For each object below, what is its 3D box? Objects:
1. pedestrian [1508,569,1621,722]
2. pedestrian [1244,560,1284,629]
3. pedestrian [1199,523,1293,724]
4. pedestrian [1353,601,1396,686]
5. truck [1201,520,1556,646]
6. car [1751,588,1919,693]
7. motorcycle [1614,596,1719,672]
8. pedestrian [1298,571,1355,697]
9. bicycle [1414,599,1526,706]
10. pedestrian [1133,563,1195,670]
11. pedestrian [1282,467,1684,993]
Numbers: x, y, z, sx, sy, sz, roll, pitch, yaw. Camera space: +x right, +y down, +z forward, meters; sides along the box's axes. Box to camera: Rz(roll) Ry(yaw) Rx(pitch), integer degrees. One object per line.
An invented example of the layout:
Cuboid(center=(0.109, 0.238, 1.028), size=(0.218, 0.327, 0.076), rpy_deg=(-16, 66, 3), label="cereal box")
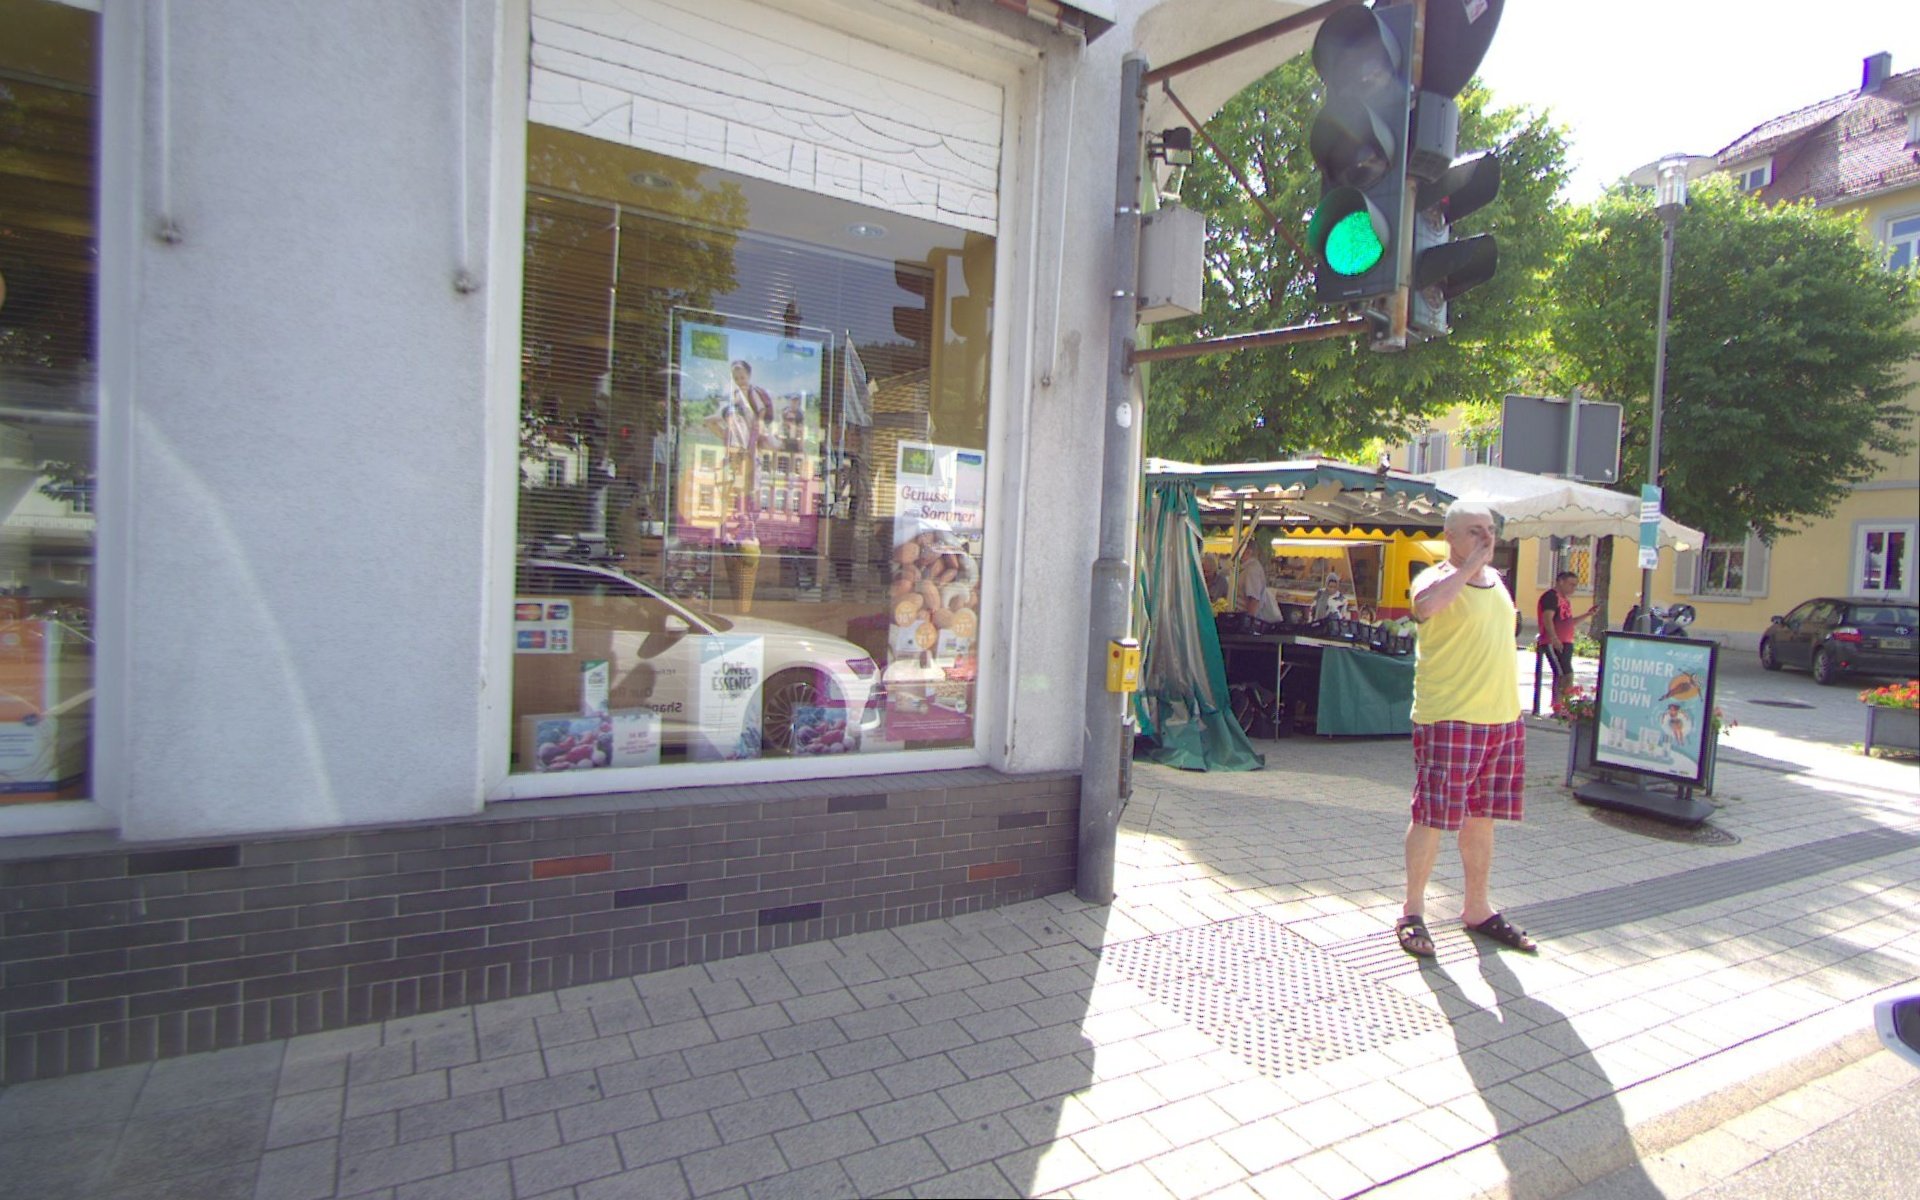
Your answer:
Cuboid(center=(6.964, 0.515, 11.584), size=(0.870, 1.680, 0.570), rpy_deg=(4, 1, -19), label="pedestrian")
Cuboid(center=(8.122, -0.157, 26.842), size=(0.672, 1.811, 0.722), rpy_deg=(-1, 4, -23), label="pedestrian")
Cuboid(center=(2.993, 0.229, 10.490), size=(0.643, 2.012, 0.704), rpy_deg=(3, 1, 41), label="pedestrian")
Cuboid(center=(5.953, 0.616, 14.456), size=(0.506, 1.176, 0.622), rpy_deg=(2, 1, 21), label="pedestrian")
Cuboid(center=(10.645, -0.611, 26.913), size=(2.973, 2.795, 8.793), rpy_deg=(0, 3, -28), label="truck")
Cuboid(center=(16.204, 0.657, 18.291), size=(1.887, 1.564, 3.954), rpy_deg=(3, 3, 25), label="car")
Cuboid(center=(13.952, 0.632, 19.826), size=(2.063, 1.379, 0.881), rpy_deg=(-1, 3, -30), label="motorcycle")
Cuboid(center=(5.338, 0.474, 14.605), size=(0.693, 1.747, 0.788), rpy_deg=(2, 1, 22), label="pedestrian")
Cuboid(center=(6.516, 0.638, 12.792), size=(1.848, 1.251, 0.610), rpy_deg=(1, 2, -42), label="bicycle")
Cuboid(center=(3.016, 0.242, 14.894), size=(0.613, 1.538, 0.630), rpy_deg=(2, 1, -23), label="pedestrian")
Cuboid(center=(2.011, 0.440, 4.089), size=(0.890, 1.840, 1.020), rpy_deg=(4, 6, 0), label="pedestrian")
